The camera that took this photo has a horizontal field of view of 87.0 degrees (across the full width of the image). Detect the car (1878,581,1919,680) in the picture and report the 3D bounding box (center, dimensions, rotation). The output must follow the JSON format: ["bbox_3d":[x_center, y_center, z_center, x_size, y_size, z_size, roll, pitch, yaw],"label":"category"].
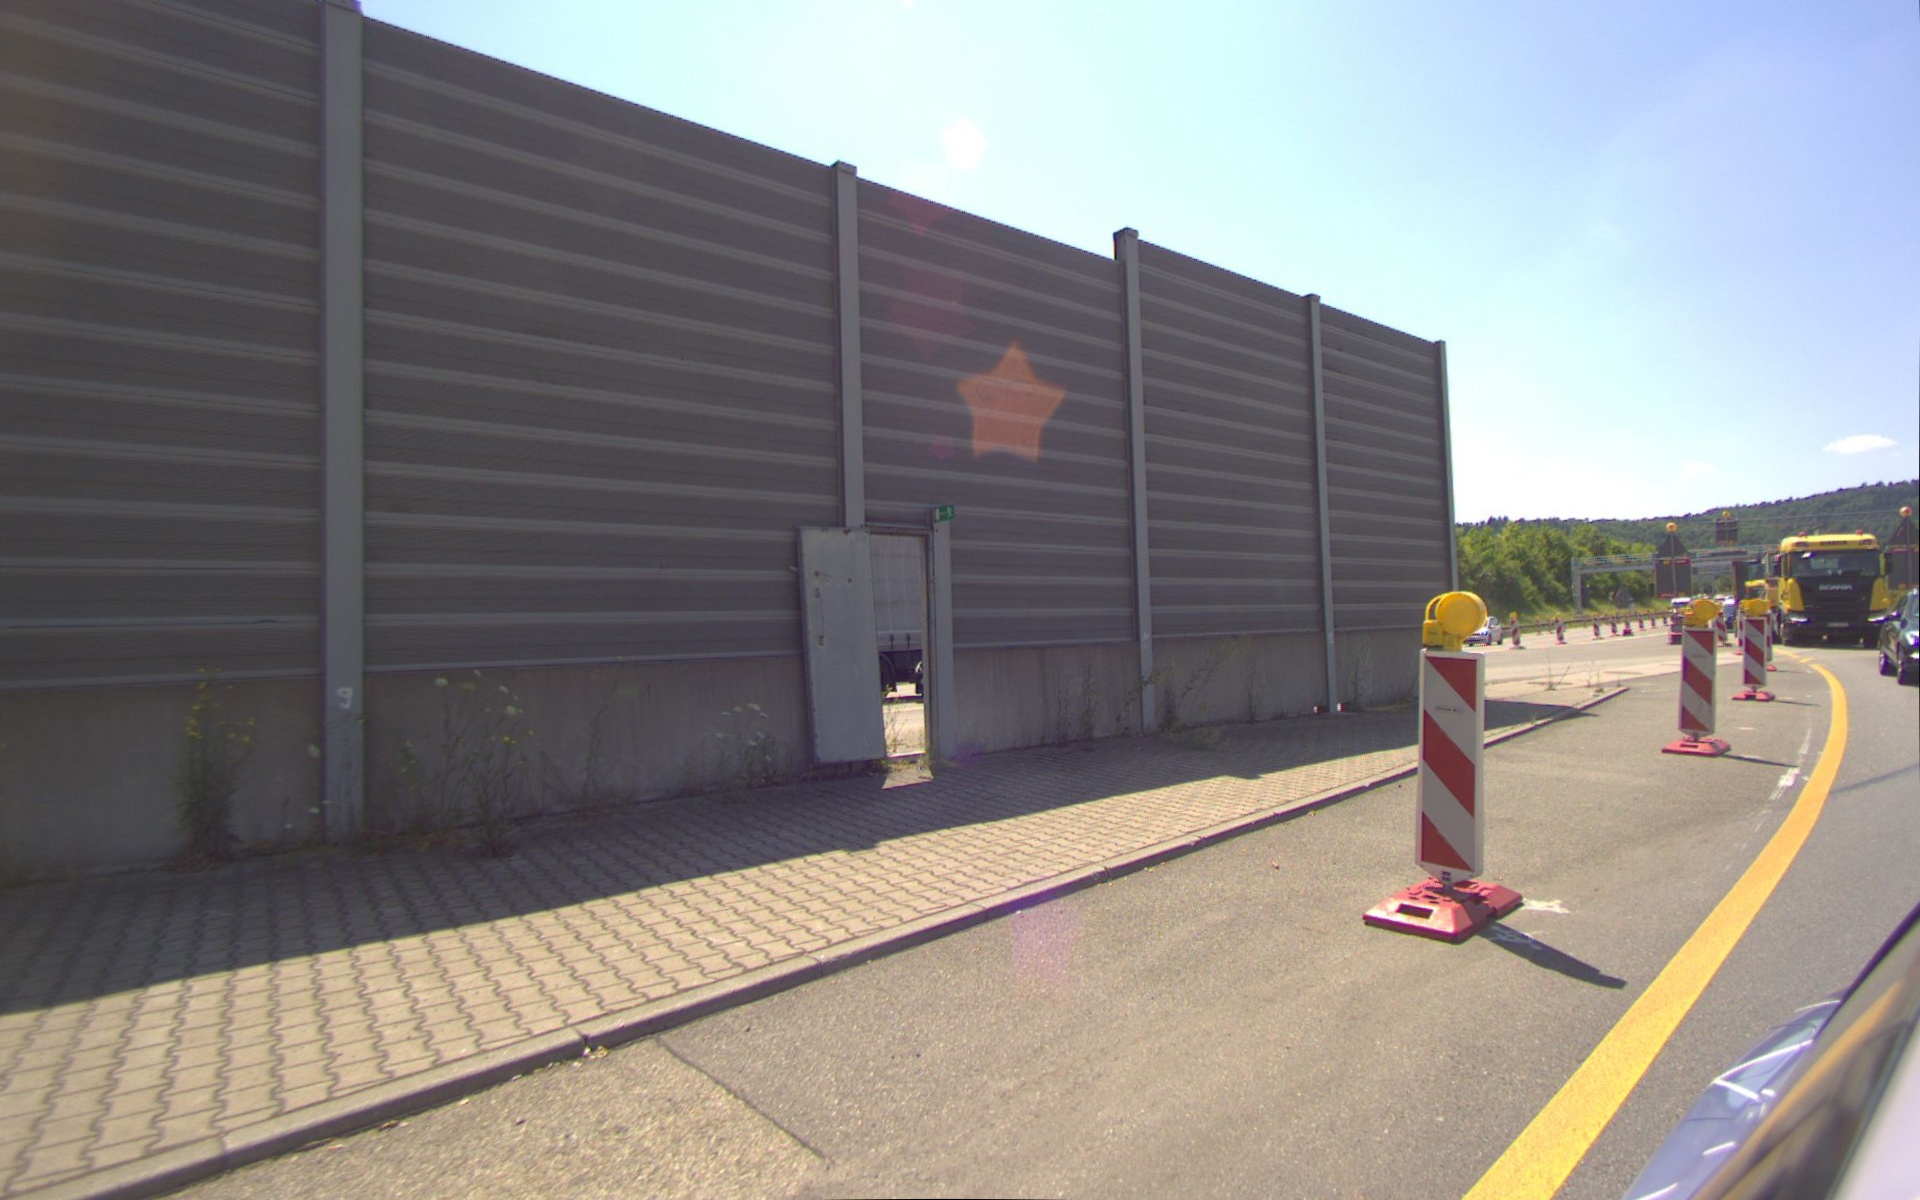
[{"bbox_3d":[18.489,0.514,18.612,1.809,1.717,4.436,-1,0,35],"label":"car"}]

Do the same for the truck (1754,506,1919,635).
[{"bbox_3d":[29.483,-0.799,34.182,3.207,3.709,7.000,-5,-4,32],"label":"truck"}]

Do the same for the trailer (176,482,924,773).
[{"bbox_3d":[-6.540,0.425,19.769,2.539,4.005,13.652,-7,-4,43],"label":"trailer"}]

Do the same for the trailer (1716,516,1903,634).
[{"bbox_3d":[34.134,-0.668,41.572,3.213,3.715,17.218,-5,-4,32],"label":"trailer"}]

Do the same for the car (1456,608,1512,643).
[{"bbox_3d":[29.715,1.432,57.336,1.812,1.717,4.428,-5,-3,40],"label":"car"}]
